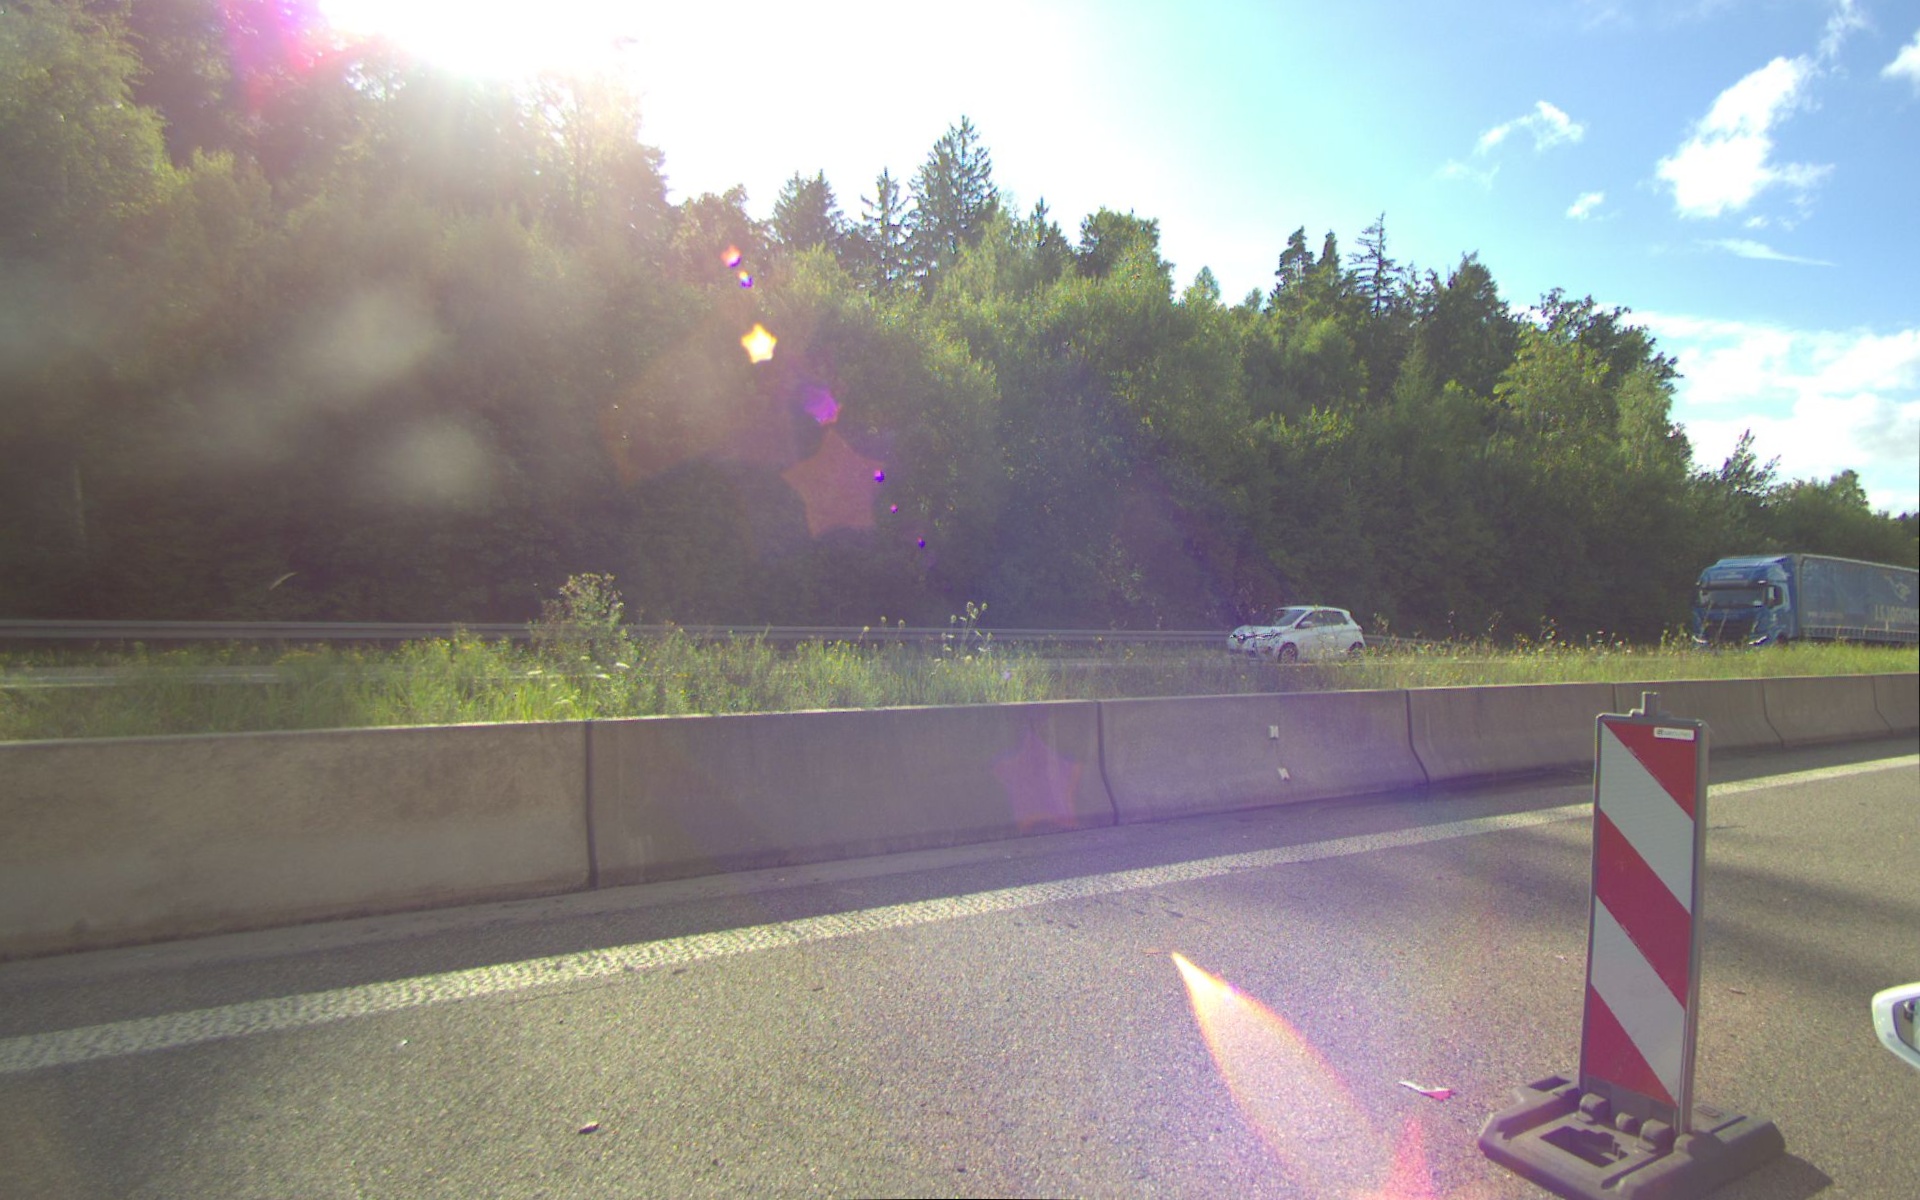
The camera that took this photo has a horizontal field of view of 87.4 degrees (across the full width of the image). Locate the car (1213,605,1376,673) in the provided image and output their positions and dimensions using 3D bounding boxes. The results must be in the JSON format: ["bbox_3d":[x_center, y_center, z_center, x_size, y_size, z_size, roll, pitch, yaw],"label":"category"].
[{"bbox_3d":[8.613,0.996,25.797,3.953,1.581,1.778,2,0,-30],"label":"car"}]

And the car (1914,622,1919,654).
[{"bbox_3d":[64.277,2.519,65.463,3.953,2.040,1.984,2,0,-30],"label":"car"}]

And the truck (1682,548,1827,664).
[{"bbox_3d":[31.045,0.274,39.238,5.403,4.245,2.625,1,0,-30],"label":"truck"}]

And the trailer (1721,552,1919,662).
[{"bbox_3d":[37.120,0.397,42.817,13.216,4.196,2.607,1,0,-31],"label":"trailer"}]
